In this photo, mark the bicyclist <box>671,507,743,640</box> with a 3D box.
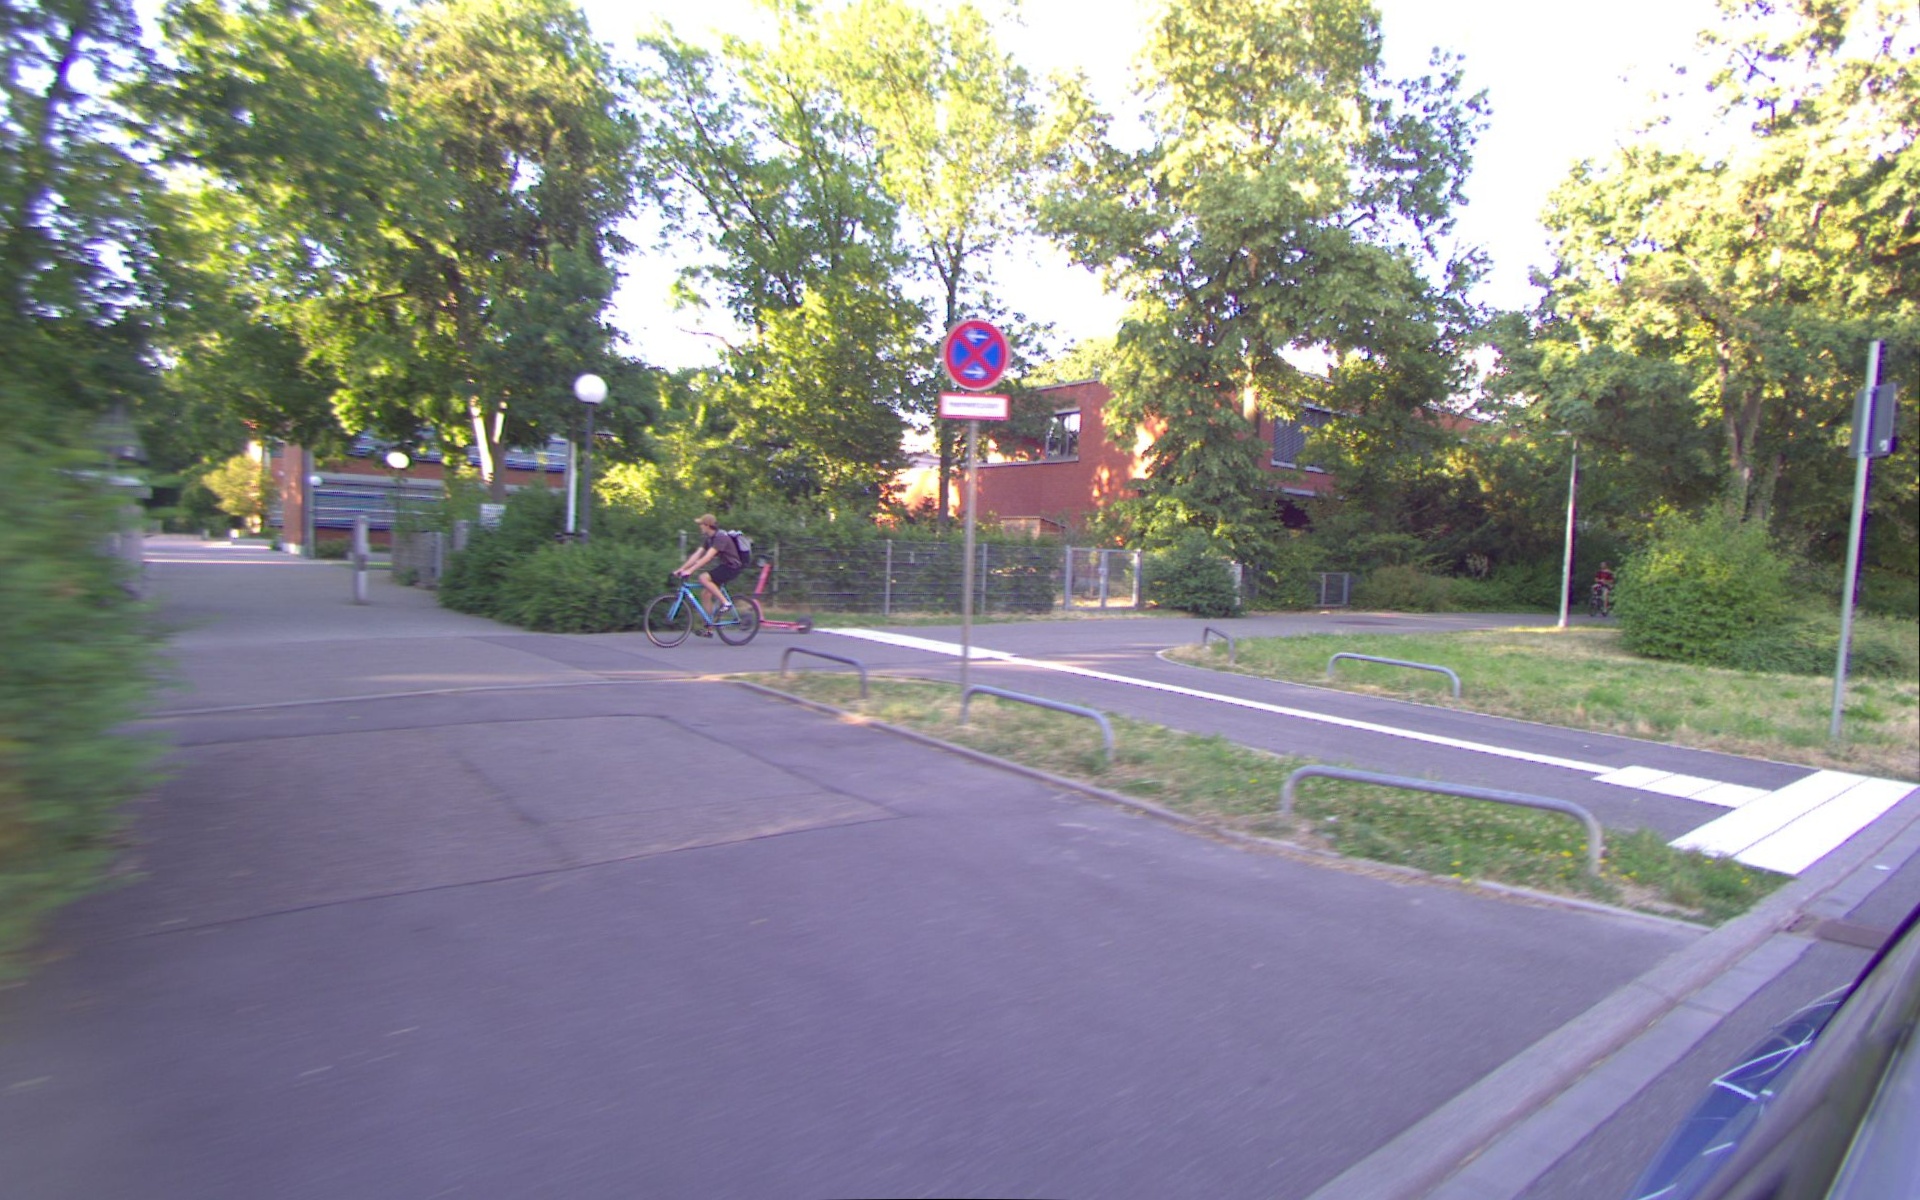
[{"bbox_3d":[-3.286,-0.345,13.123,0.711,1.664,0.533,0,3,-40],"label":"bicyclist"}]

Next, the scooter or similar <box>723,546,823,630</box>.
[{"bbox_3d":[-2.845,-0.182,15.409,1.439,1.222,0.387,2,2,-11],"label":"scooter or similar"}]

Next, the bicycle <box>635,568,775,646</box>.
[{"bbox_3d":[-3.289,0.074,13.146,1.691,0.929,0.533,0,3,-40],"label":"bicycle"}]
